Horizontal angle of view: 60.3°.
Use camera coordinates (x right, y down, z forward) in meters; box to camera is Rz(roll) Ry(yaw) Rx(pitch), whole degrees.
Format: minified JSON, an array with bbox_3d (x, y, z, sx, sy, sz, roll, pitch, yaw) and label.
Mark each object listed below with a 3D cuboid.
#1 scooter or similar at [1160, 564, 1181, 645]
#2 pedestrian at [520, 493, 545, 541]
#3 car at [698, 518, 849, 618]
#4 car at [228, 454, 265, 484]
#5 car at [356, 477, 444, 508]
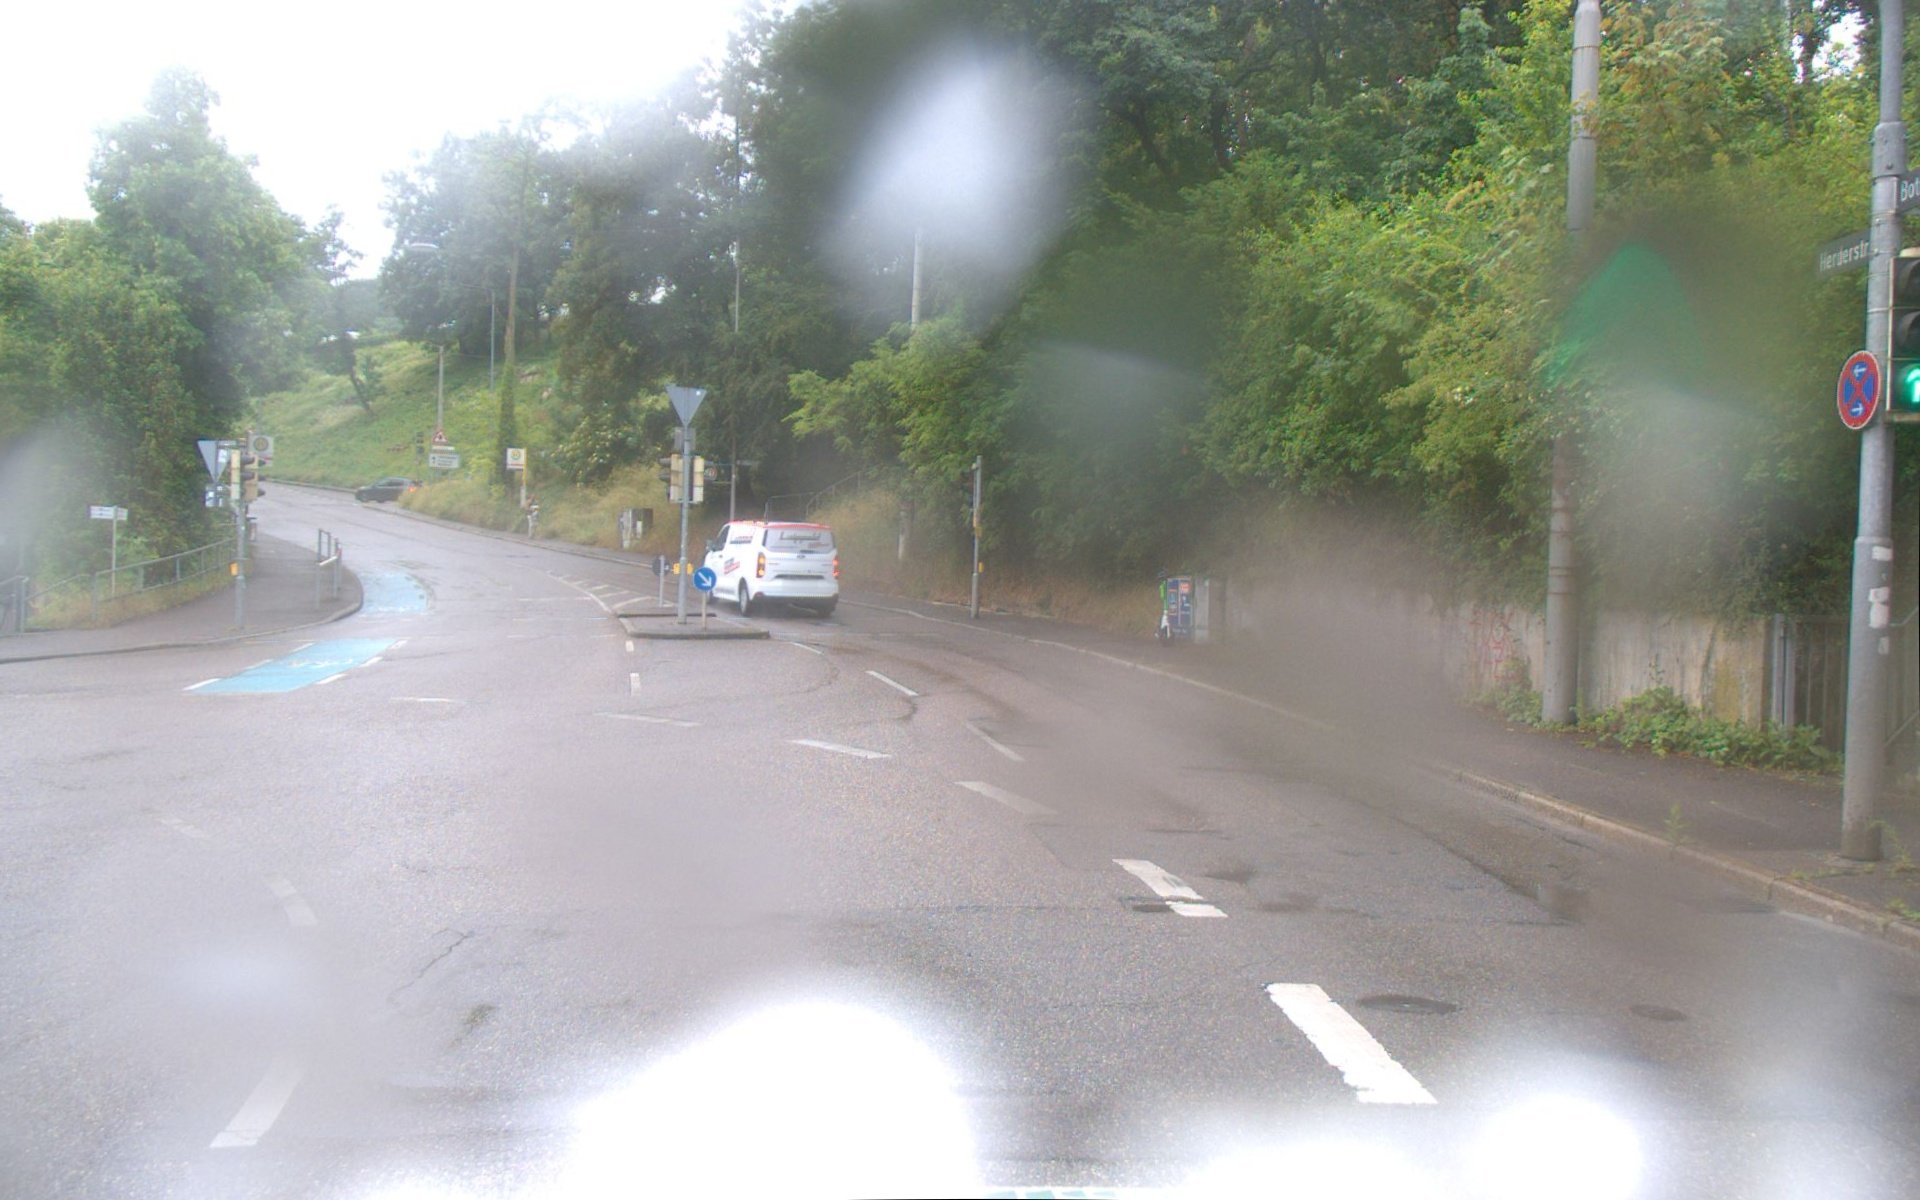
[{"bbox_3d":[3.465,0.063,27.280,0.315,1.302,0.752,0,3,6],"label":"scooter or similar"},{"bbox_3d":[-16.636,-3.217,64.382,0.867,1.767,0.861,1,-1,-18],"label":"pedestrian"},{"bbox_3d":[-4.204,-0.718,36.492,2.038,2.041,4.781,1,1,-23],"label":"car"},{"bbox_3d":[-49.074,-8.986,113.702,1.898,1.811,3.961,1,2,-30],"label":"car"},{"bbox_3d":[-31.650,-6.076,93.577,4.296,1.538,1.965,3,3,12],"label":"car"}]
